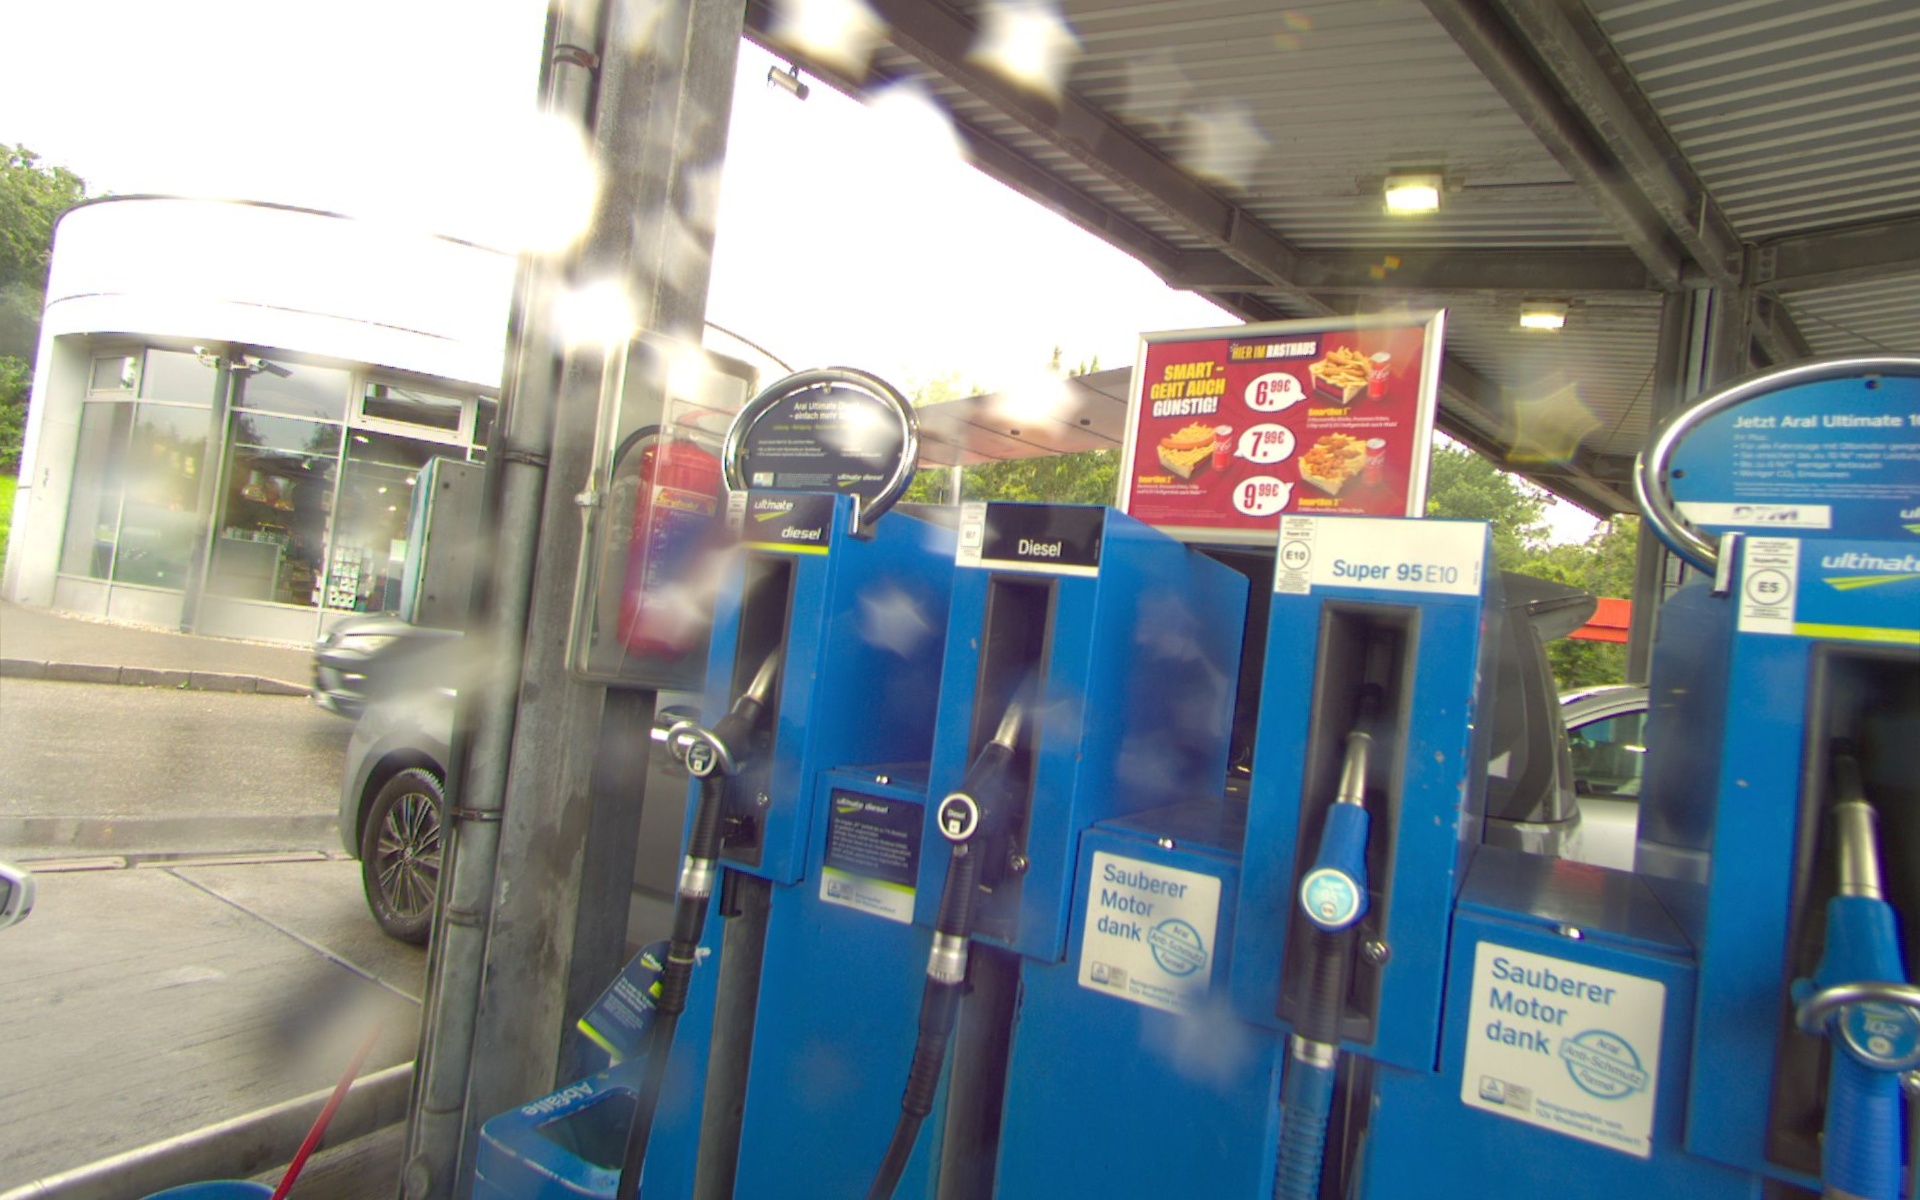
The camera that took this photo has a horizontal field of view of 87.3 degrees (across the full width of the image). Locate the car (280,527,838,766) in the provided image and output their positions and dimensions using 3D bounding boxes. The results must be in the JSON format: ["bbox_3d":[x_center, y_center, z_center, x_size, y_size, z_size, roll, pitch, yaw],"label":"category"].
[{"bbox_3d":[-3.513,0.506,9.269,4.296,1.606,1.869,9,-2,-40],"label":"car"}]

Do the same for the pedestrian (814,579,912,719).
[{"bbox_3d":[-1.433,0.720,14.829,0.991,1.917,0.716,7,0,34],"label":"pedestrian"}]

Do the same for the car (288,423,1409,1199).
[{"bbox_3d":[-0.585,0.519,3.979,3.934,1.971,1.819,7,-1,32],"label":"car"}]
